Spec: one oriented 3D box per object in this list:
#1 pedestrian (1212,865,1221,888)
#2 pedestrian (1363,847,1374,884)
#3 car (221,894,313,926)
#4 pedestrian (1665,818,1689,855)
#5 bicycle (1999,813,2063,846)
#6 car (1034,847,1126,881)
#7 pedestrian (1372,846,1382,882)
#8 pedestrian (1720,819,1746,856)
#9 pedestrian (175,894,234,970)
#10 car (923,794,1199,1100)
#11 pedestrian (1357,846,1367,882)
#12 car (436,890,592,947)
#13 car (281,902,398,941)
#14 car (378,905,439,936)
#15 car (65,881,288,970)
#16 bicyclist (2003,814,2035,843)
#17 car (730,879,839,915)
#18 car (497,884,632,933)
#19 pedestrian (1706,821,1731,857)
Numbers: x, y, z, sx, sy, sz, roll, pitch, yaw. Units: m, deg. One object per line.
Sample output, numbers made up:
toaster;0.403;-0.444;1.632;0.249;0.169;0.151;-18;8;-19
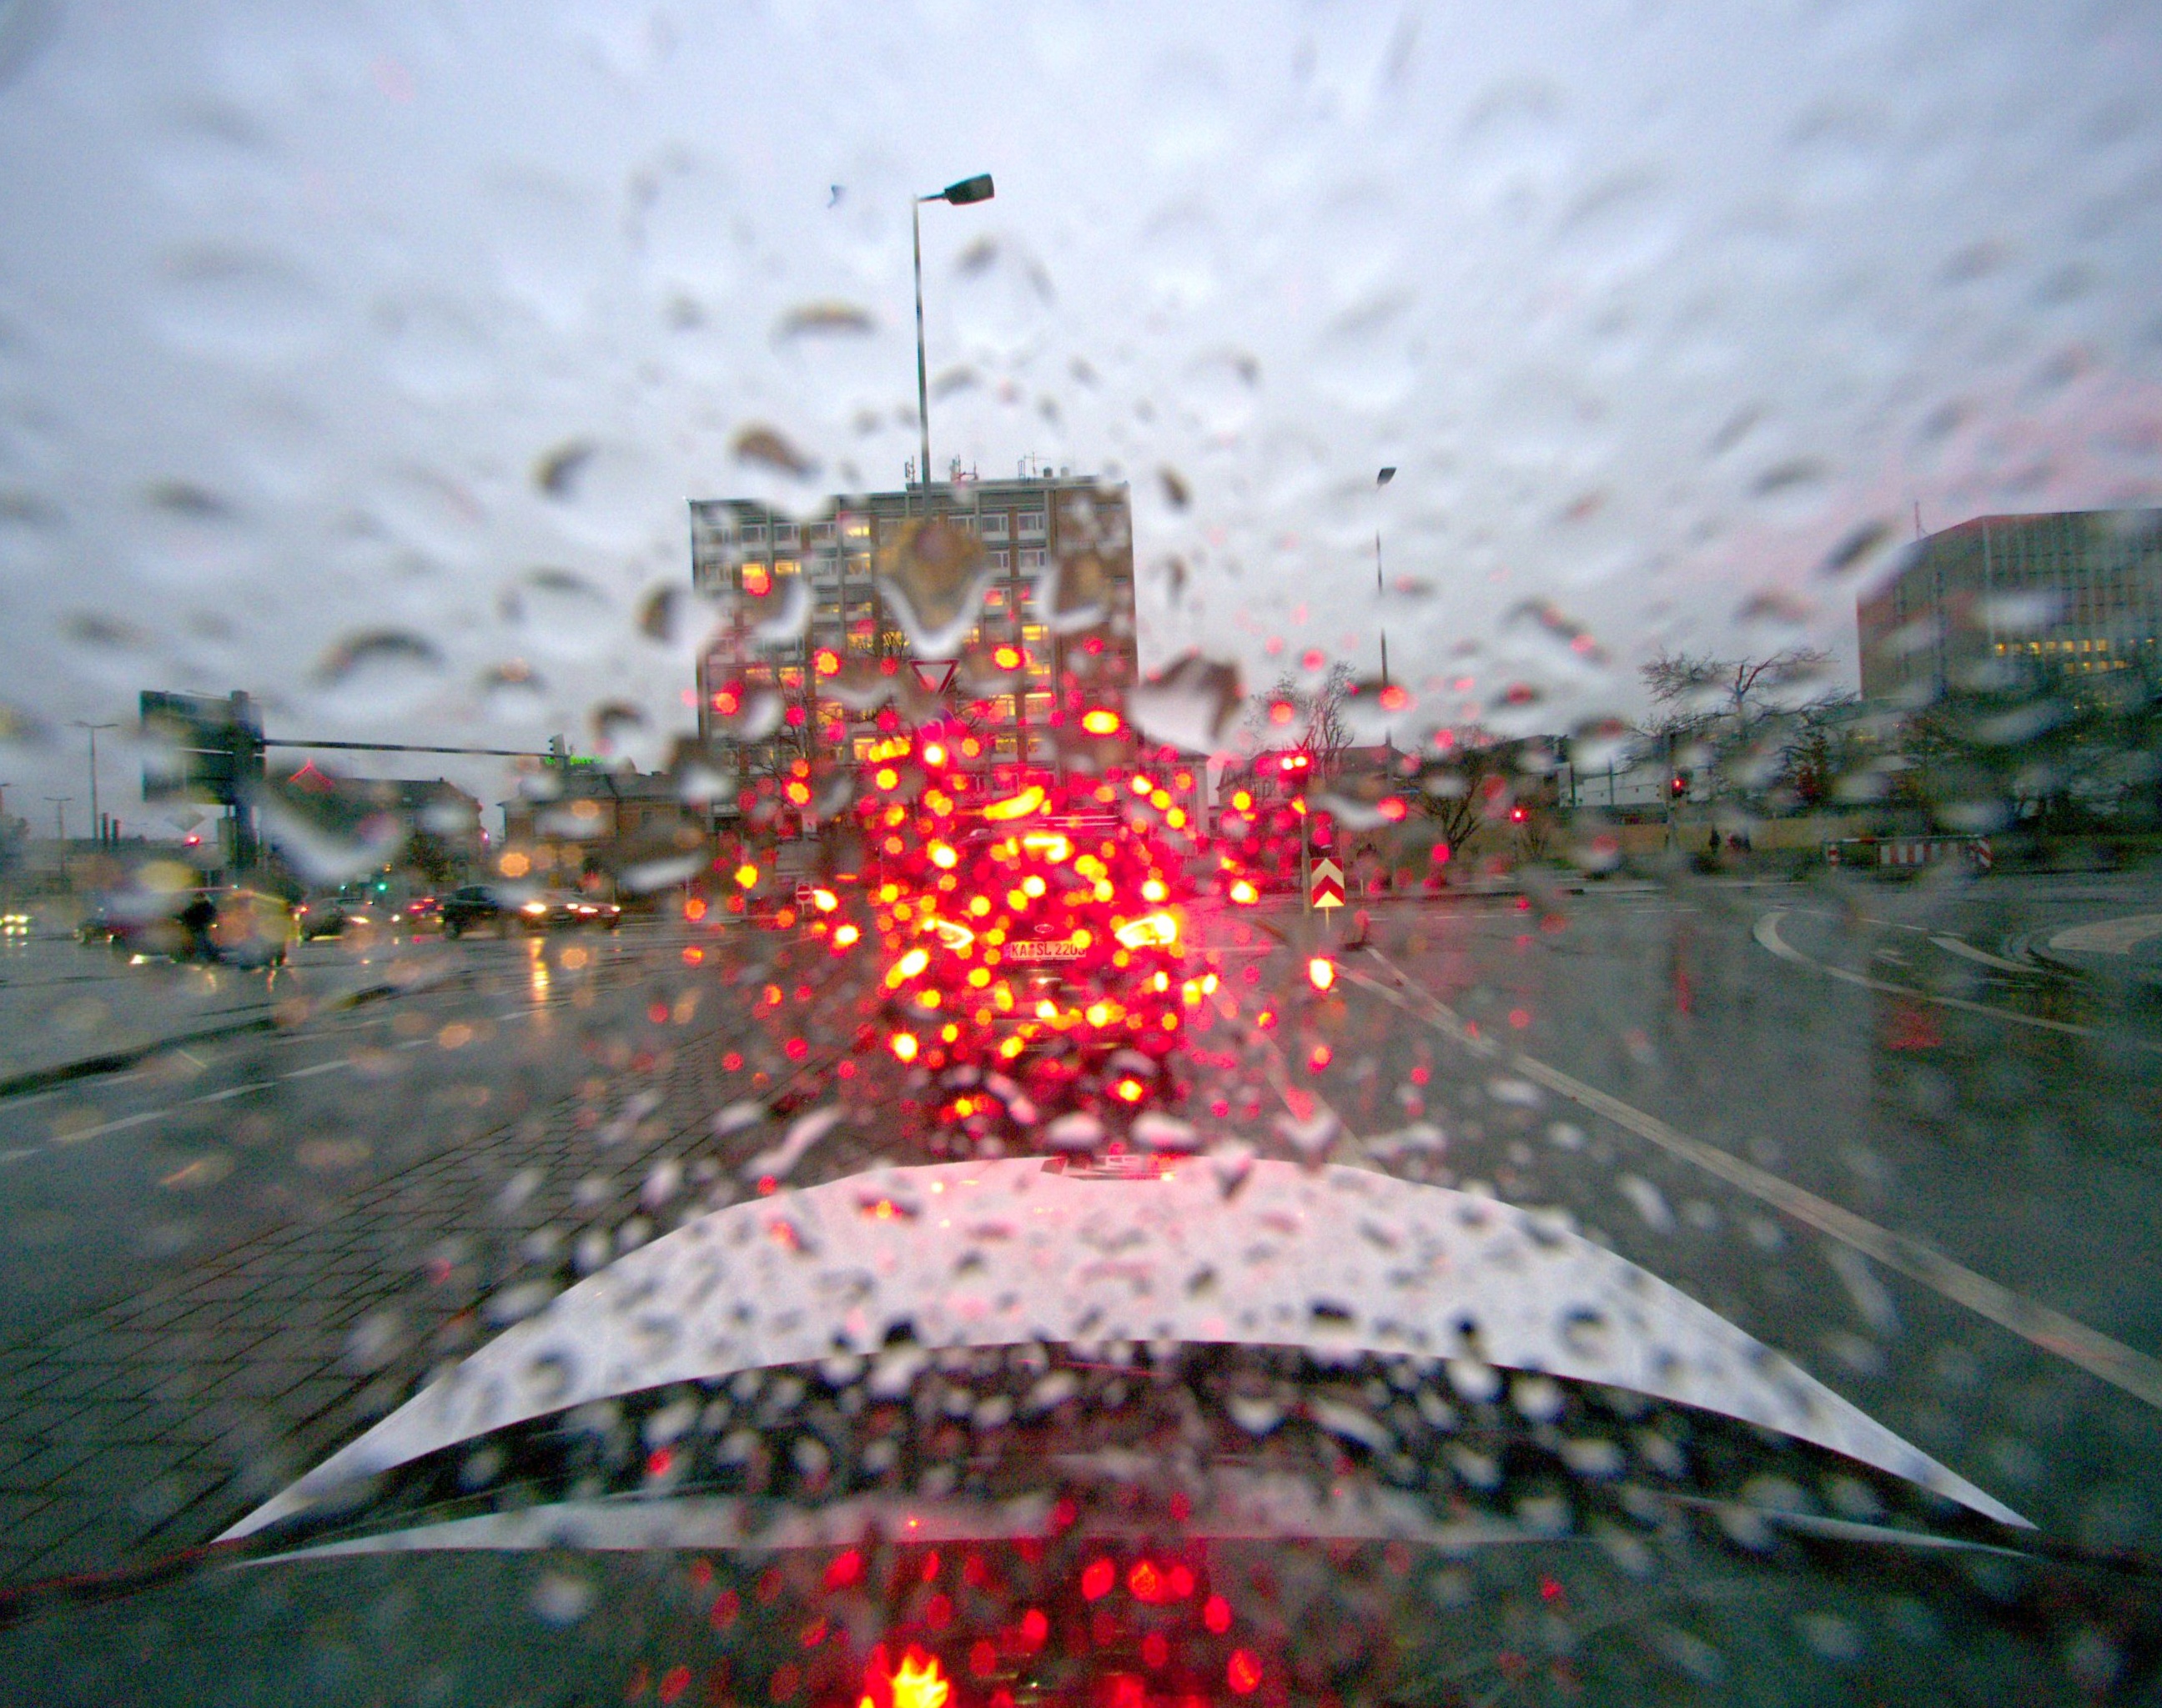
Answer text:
pedestrian;7.345;1.213;44.103;0.429;1.270;0.443;-1;-2;13
pedestrian;14.420;0.577;40.832;0.454;1.839;0.441;-2;-2;19
car;-52.901;3.660;52.951;5.114;1.913;2.008;-2;-1;17
pedestrian;29.278;-0.852;39.995;0.620;1.725;0.762;-1;-2;8
bicycle;43.419;-1.130;37.239;1.911;1.423;0.594;-1;-2;10
car;-0.032;0.660;51.280;5.516;2.024;2.004;-1;-2;7
pedestrian;15.164;0.528;41.761;0.434;1.839;0.462;-2;-2;20
pedestrian;31.142;-0.767;38.894;0.620;1.725;0.762;-1;-2;8
pedestrian;-20.337;1.794;18.908;0.456;1.697;0.801;-2;-2;25
car;-0.059;0.554;6.921;1.641;1.819;4.002;-1;0;2
pedestrian;14.461;0.497;41.887;0.434;1.839;0.462;-2;-2;19
car;-17.885;2.016;25.745;4.037;1.684;1.766;-1;-2;13
car;-29.649;2.684;32.573;3.800;1.449;1.610;-1;-2;14
car;-37.625;3.714;45.553;3.368;1.605;1.576;-2;-2;31
car;-25.265;1.940;22.789;4.981;2.282;2.268;-2;-2;18
bicyclist;42.984;-1.161;37.312;0.694;1.246;0.609;-1;-2;10
car;-13.814;1.975;38.004;4.400;1.580;1.975;-1;-2;15
car;-18.564;1.951;29.320;4.040;1.684;1.766;-1;-2;14
pedestrian;31.403;-0.744;40.107;0.620;1.725;0.762;-1;-2;8
